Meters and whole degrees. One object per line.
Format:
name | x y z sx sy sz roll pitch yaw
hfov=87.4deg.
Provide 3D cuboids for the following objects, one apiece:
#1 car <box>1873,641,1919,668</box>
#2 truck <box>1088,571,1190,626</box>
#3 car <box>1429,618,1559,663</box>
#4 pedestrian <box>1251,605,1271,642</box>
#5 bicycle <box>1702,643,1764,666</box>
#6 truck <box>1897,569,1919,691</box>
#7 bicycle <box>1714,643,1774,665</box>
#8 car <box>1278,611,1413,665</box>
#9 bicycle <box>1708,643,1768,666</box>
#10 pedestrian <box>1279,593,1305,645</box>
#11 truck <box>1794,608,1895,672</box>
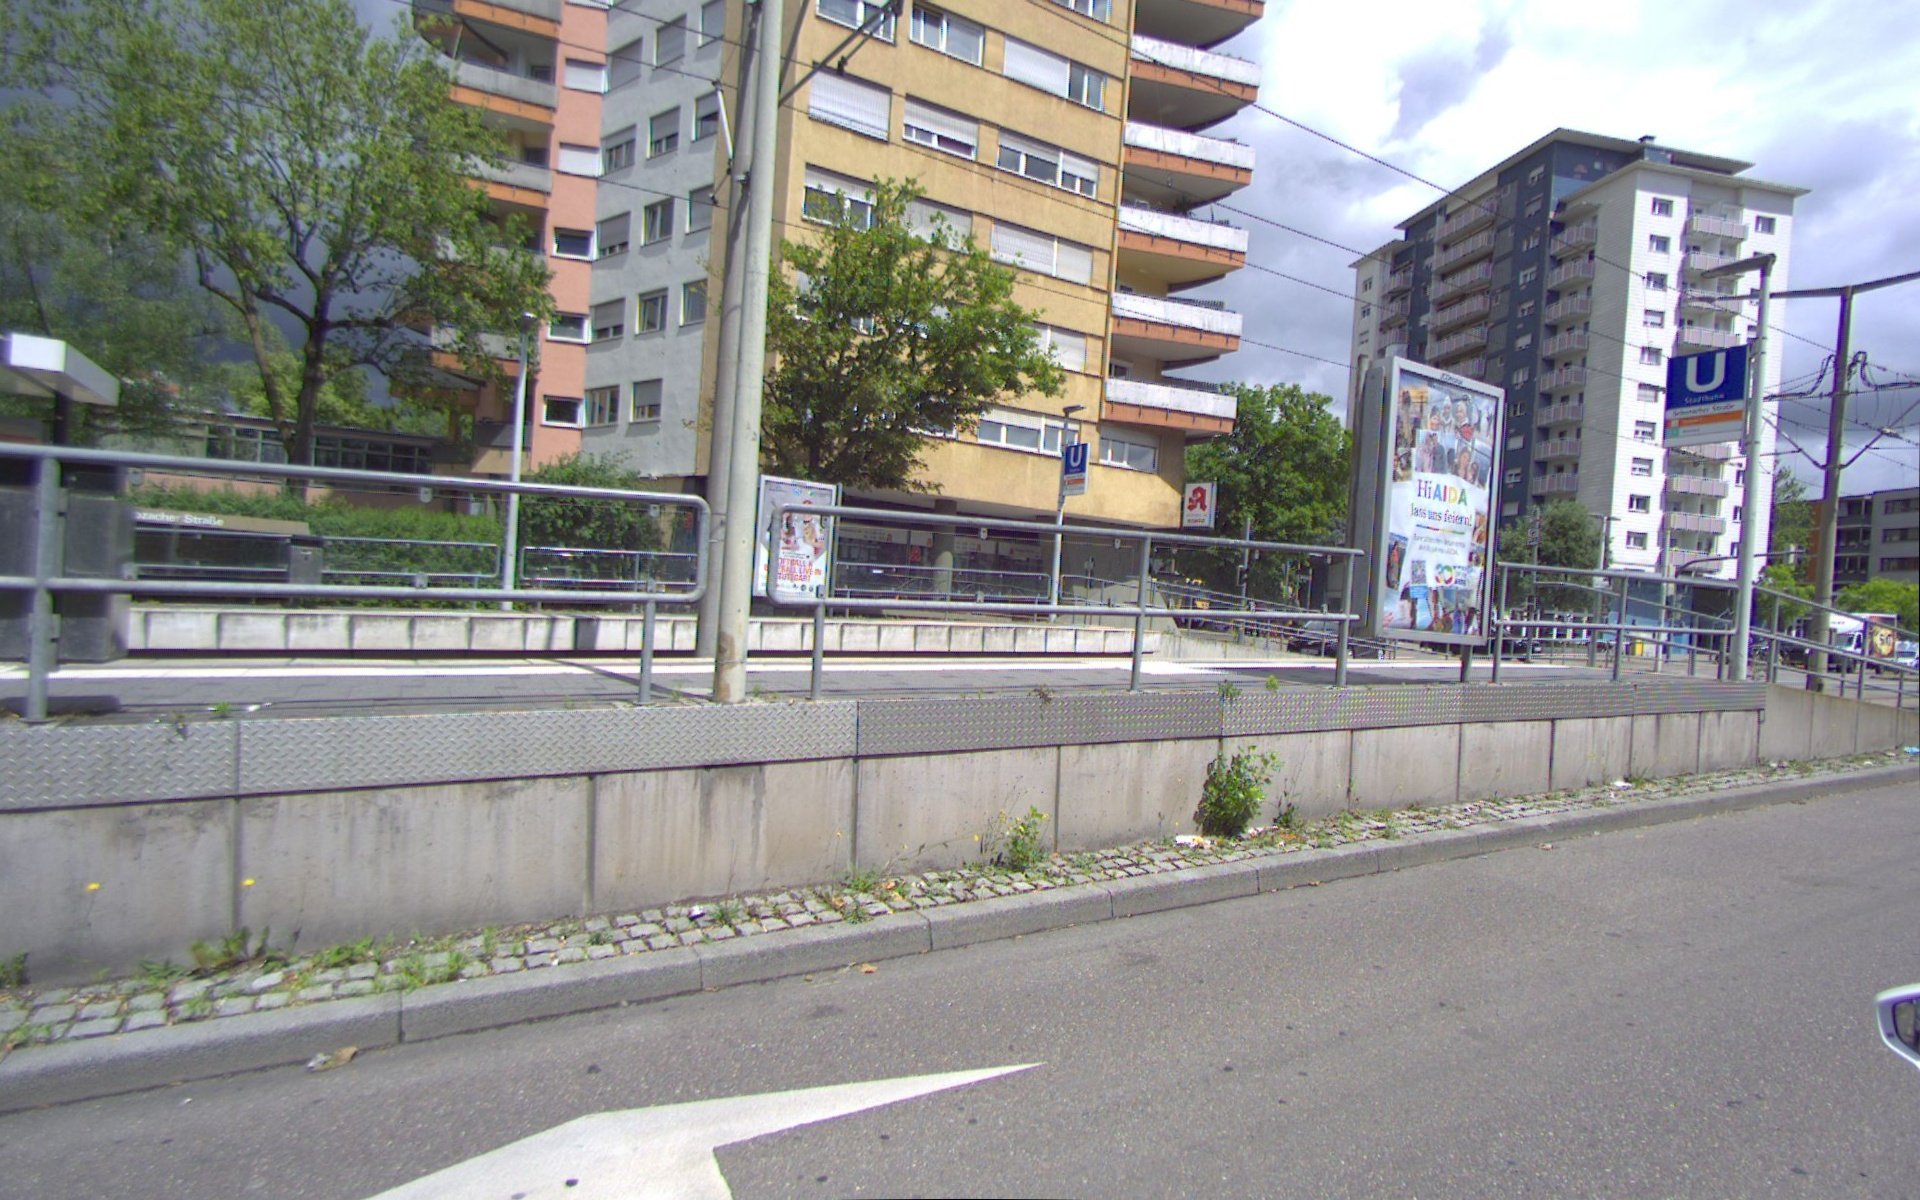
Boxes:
car | 54.975 3.206 58.749 3.733 1.480 1.399 2 0 -32
truck | 7.986 -0.107 45.244 2.323 2.320 4.260 2 0 -29
car | 20.238 1.504 38.164 1.833 1.506 3.951 2 0 -41
pedestrian | 12.025 0.934 40.093 0.541 1.459 0.497 2 0 -19
bicycle | 41.690 2.915 54.218 2.521 1.022 0.754 4 0 33
truck | 29.646 0.909 26.261 2.586 3.393 7.209 2 0 -39
bicycle | 43.420 2.989 55.679 2.521 1.022 0.754 4 0 33
car | 11.095 1.094 28.853 3.820 1.424 1.571 2 0 -30
bicycle | 42.560 2.960 54.986 2.521 1.022 0.754 4 0 33
pedestrian | 11.789 0.676 35.695 0.649 1.799 0.658 2 0 -1
truck | 47.531 2.166 53.917 7.244 3.159 2.267 2 0 -34
